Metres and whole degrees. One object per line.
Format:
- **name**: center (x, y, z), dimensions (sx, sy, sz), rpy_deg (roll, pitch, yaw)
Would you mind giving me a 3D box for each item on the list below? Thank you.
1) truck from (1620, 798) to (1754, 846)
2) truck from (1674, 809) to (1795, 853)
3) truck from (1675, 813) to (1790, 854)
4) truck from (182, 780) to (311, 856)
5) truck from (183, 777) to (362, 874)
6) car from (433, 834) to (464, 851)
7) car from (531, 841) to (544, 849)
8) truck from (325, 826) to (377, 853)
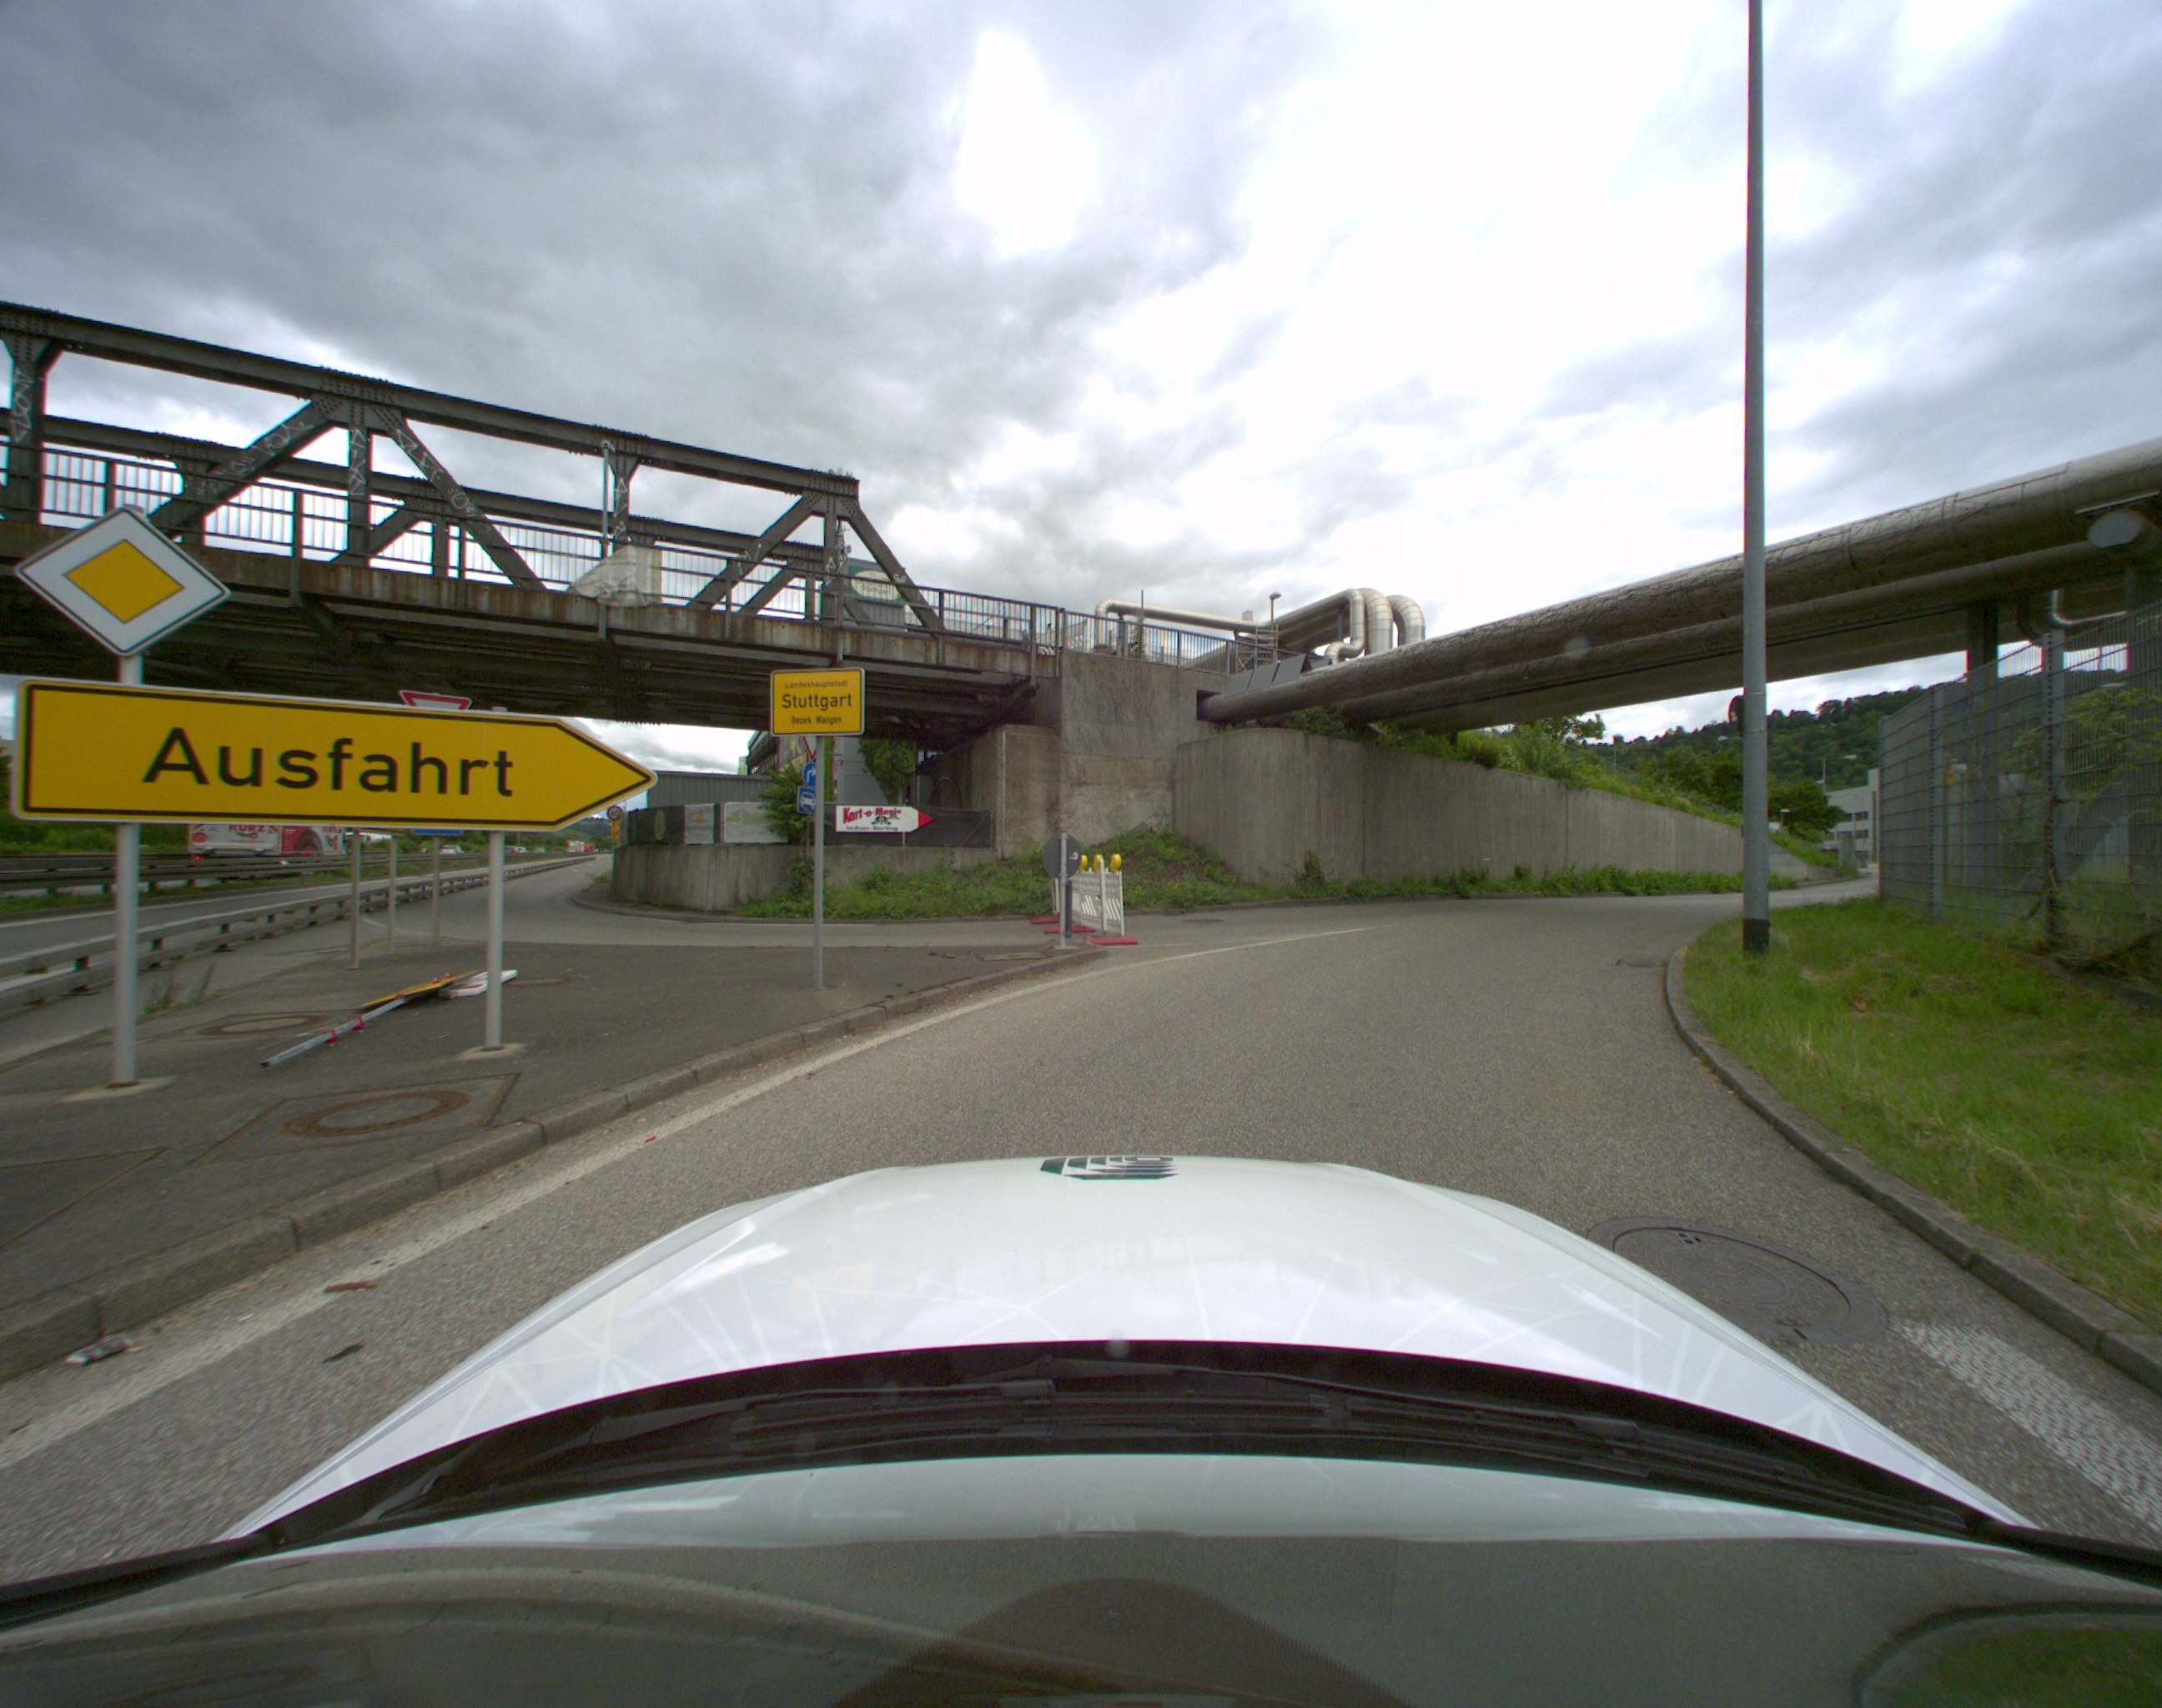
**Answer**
- **truck**: center (48.143, -2.536, 64.974), dimensions (8.060, 3.539, 3.067), rpy_deg (1, -2, 20)
- **truck**: center (57.344, -2.005, 71.720), dimensions (7.770, 3.539, 3.069), rpy_deg (1, -2, 25)
- **truck**: center (59.956, -1.862, 75.195), dimensions (7.773, 3.539, 3.068), rpy_deg (1, -2, 22)
- **truck**: center (-43.428, -1.698, 42.684), dimensions (3.015, 3.556, 7.661), rpy_deg (0, 0, -32)
- **truck**: center (-34.912, -1.138, 35.732), dimensions (2.971, 3.629, 10.058), rpy_deg (1, 0, -30)
- **car**: center (-67.024, -1.158, 86.370), dimensions (2.005, 1.759, 3.963), rpy_deg (0, 0, -29)
- **car**: center (-110.863, -1.805, 166.069), dimensions (1.790, 1.596, 3.715), rpy_deg (1, 0, -28)
- **truck**: center (-86.190, -1.666, 96.272), dimensions (2.509, 2.846, 7.193), rpy_deg (2, -1, -25)
